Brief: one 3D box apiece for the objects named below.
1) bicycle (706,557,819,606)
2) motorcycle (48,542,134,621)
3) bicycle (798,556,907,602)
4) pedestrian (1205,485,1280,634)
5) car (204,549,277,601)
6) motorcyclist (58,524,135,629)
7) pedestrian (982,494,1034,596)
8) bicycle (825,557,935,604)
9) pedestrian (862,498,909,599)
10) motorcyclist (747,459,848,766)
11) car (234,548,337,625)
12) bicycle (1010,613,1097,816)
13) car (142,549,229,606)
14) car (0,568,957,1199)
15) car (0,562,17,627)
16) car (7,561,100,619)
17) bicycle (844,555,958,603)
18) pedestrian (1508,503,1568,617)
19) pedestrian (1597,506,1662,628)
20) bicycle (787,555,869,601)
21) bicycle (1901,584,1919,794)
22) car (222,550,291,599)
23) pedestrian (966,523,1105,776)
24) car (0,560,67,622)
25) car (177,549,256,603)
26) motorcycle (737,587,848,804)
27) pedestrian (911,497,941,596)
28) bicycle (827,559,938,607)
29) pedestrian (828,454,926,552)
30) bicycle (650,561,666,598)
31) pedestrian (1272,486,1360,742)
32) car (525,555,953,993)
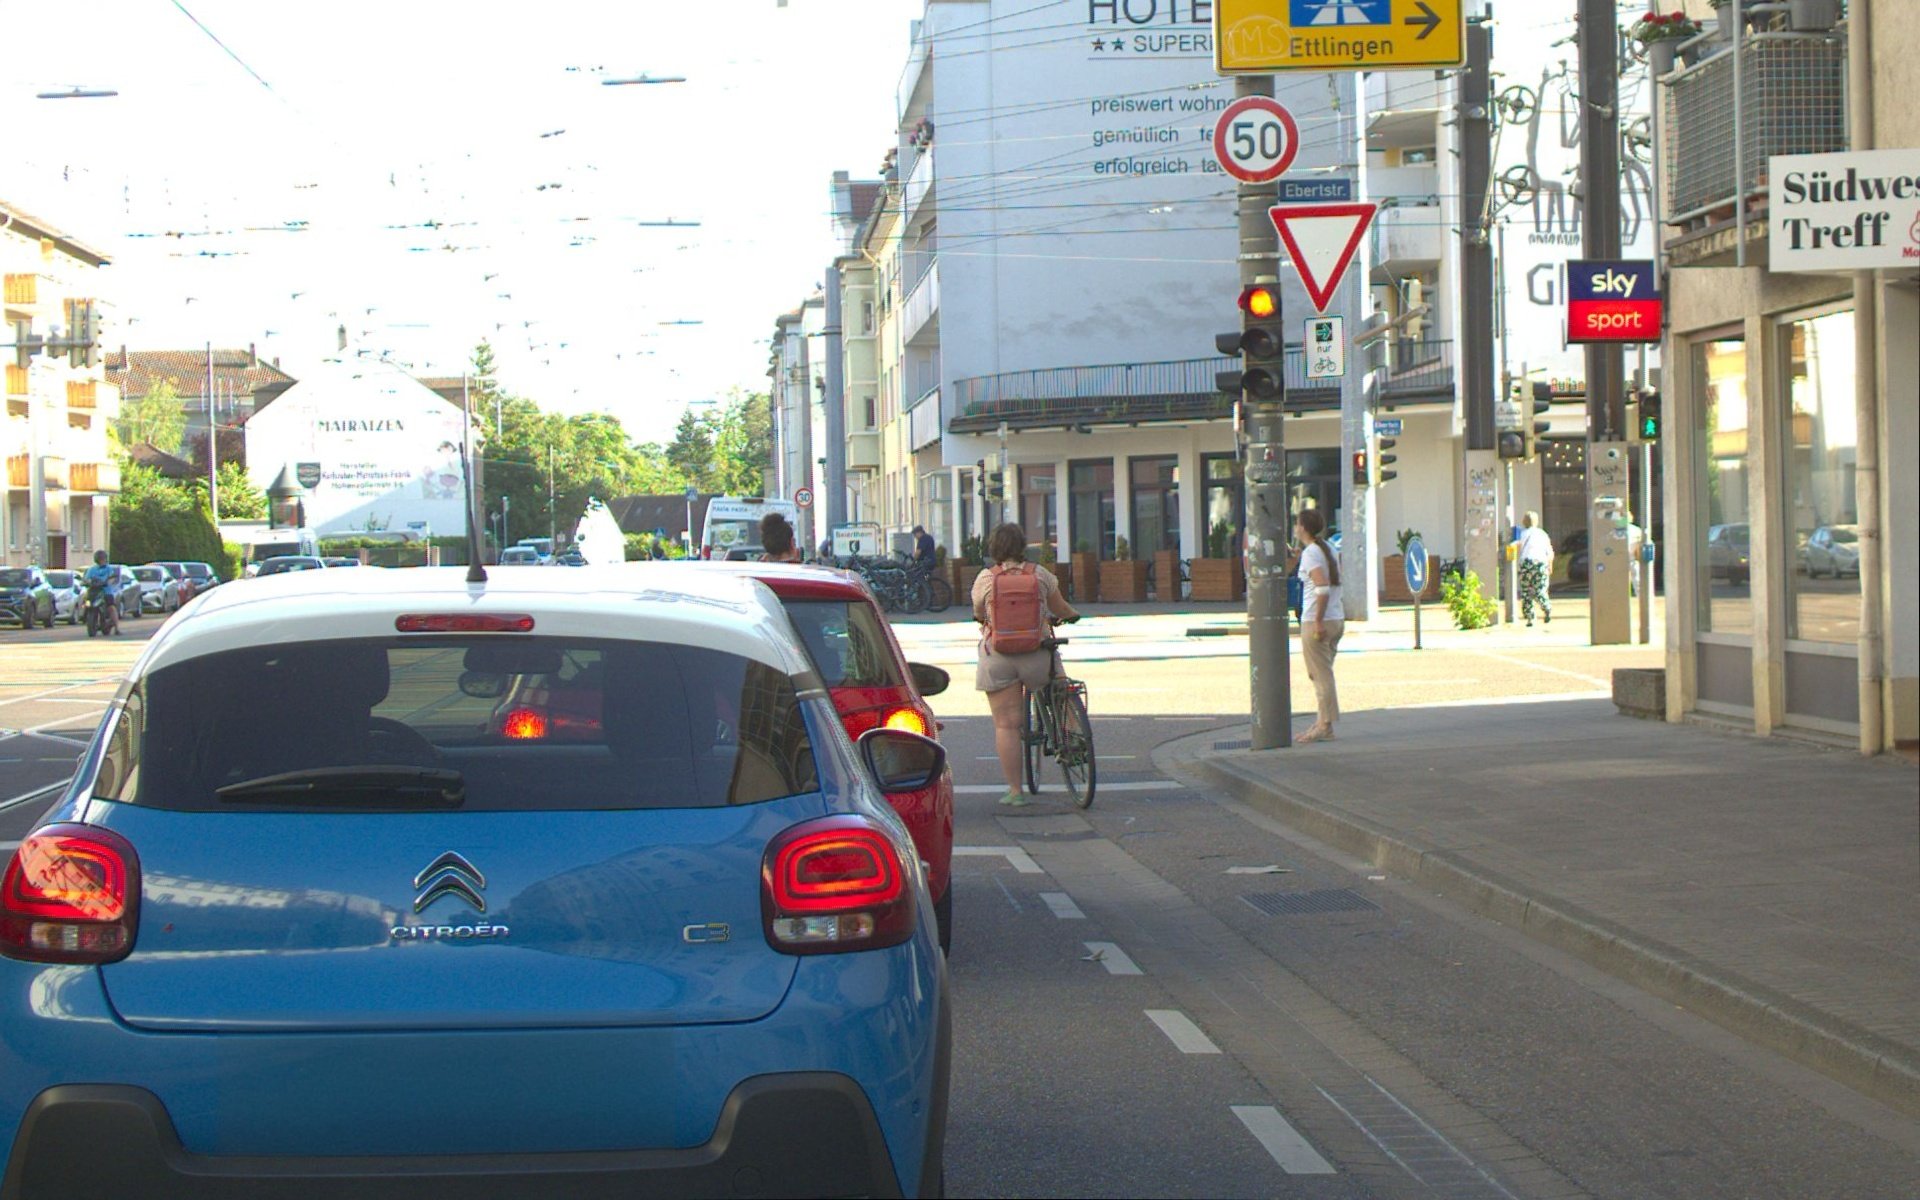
[{"bbox_3d":[-3.812,-0.356,66.226,2.132,0.898,0.367,1,0,-9],"label":"bicycle"},{"bbox_3d":[-16.888,-0.374,66.904,0.923,1.481,3.726,1,1,-3],"label":"motorcycle"},{"bbox_3d":[-2.135,-0.415,68.341,2.132,0.898,0.367,1,0,-9],"label":"bicycle"},{"bbox_3d":[3.852,-0.549,46.958,0.926,2.007,0.759,1,0,-1],"label":"pedestrian"},{"bbox_3d":[-24.388,-0.856,116.652,1.833,1.681,4.001,1,1,-4],"label":"car"},{"bbox_3d":[-16.884,-0.463,67.249,1.185,2.007,1.276,-1,1,-3],"label":"motorcyclist"},{"bbox_3d":[0.958,-1.101,68.351,0.709,2.007,0.759,1,0,-33],"label":"pedestrian"},{"bbox_3d":[-1.573,-0.388,67.658,2.132,0.898,0.367,1,0,-9],"label":"bicycle"},{"bbox_3d":[-1.499,-1.034,69.175,0.630,2.007,0.724,1,0,-36],"label":"pedestrian"},{"bbox_3d":[-0.921,0.068,19.625,0.526,1.710,0.717,1,0,-1],"label":"motorcyclist"},{"bbox_3d":[-14.959,-0.315,76.397,1.774,1.660,3.857,1,1,-4],"label":"car"},{"bbox_3d":[0.546,0.655,20.506,0.427,1.119,1.998,1,1,-1],"label":"bicycle"},{"bbox_3d":[-23.888,-0.707,106.124,1.983,1.681,4.001,1,1,-3],"label":"car"},{"bbox_3d":[-0.861,0.667,7.171,1.654,1.439,3.523,1,1,-1],"label":"car"},{"bbox_3d":[-23.172,-0.143,79.345,1.787,1.506,4.150,1,1,-2],"label":"car"},{"bbox_3d":[-24.266,-0.290,92.150,1.732,1.493,4.001,1,1,-5],"label":"car"},{"bbox_3d":[-1.128,-0.401,65.929,2.132,0.898,0.367,1,0,-9],"label":"bicycle"},{"bbox_3d":[8.194,-0.568,48.796,0.736,1.595,0.748,1,0,3],"label":"pedestrian"},{"bbox_3d":[9.217,-0.456,47.327,0.752,1.652,0.883,1,0,4],"label":"pedestrian"},{"bbox_3d":[-2.669,-0.445,69.350,1.785,0.898,0.366,1,1,34],"label":"bicycle"},{"bbox_3d":[4.841,0.433,15.779,0.542,0.995,1.706,1,1,-1],"label":"bicycle"},{"bbox_3d":[-24.794,-0.909,121.292,1.846,1.681,3.875,1,1,-4],"label":"car"},{"bbox_3d":[0.436,0.284,20.233,0.777,1.455,0.682,1,0,-1],"label":"pedestrian"},{"bbox_3d":[-23.665,-0.234,86.117,1.785,1.493,4.001,1,1,-4],"label":"car"},{"bbox_3d":[-24.036,-0.796,111.241,1.882,1.681,4.001,1,1,-4],"label":"car"},{"bbox_3d":[-0.929,0.503,19.442,0.526,1.136,2.290,1,1,-1],"label":"motorcycle"},{"bbox_3d":[-0.697,-1.093,70.294,0.577,2.007,0.626,1,0,-3],"label":"pedestrian"},{"bbox_3d":[-1.521,-0.335,67.247,2.132,0.898,0.367,1,0,-9],"label":"bicycle"},{"bbox_3d":[-1.750,-2.043,73.535,1.993,2.007,4.000,1,1,-1],"label":"pedestrian"},{"bbox_3d":[-7.629,-0.520,86.847,0.349,0.900,1.860,1,1,-7],"label":"bicycle"},{"bbox_3d":[2.504,0.096,24.218,0.517,1.777,0.595,1,0,-2],"label":"pedestrian"},{"bbox_3d":[-0.769,0.580,13.159,1.424,1.462,2.924,-1,0,-1],"label":"car"}]
